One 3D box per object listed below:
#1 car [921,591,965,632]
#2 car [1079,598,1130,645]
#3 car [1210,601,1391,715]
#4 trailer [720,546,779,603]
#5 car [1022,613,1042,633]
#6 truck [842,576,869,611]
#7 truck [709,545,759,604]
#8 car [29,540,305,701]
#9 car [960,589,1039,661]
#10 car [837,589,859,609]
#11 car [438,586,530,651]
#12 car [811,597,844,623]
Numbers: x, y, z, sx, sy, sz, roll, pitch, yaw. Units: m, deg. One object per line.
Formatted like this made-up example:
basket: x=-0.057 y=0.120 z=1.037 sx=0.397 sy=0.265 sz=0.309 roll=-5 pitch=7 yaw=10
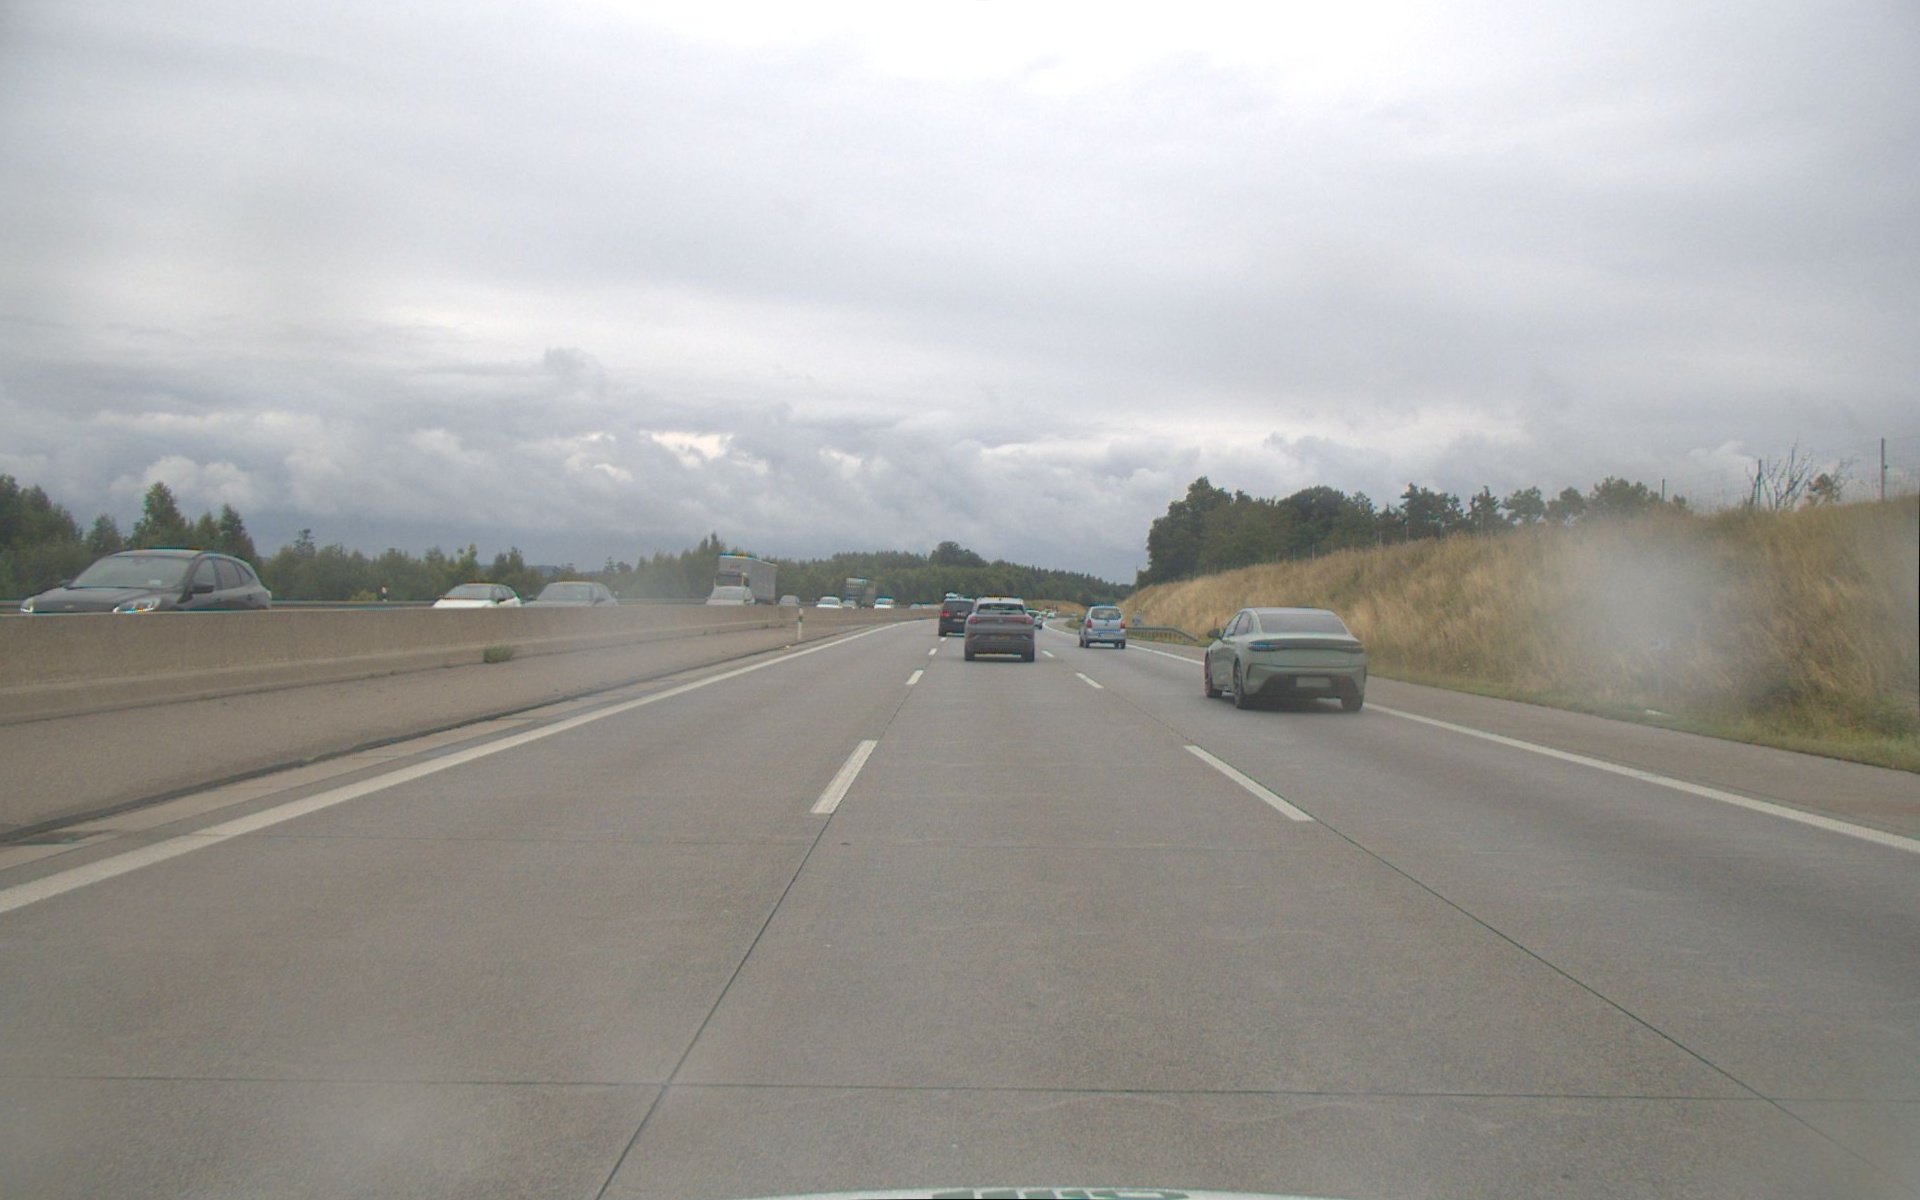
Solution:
car: x=-0.750 y=0.504 z=75.054 sx=1.748 sy=1.777 sz=3.917 roll=1 pitch=1 yaw=2
car: x=5.112 y=0.733 z=58.974 sx=1.455 sy=1.496 sz=3.505 roll=3 pitch=1 yaw=0
car: x=5.054 y=0.806 z=25.199 sx=1.972 sy=1.471 sz=4.747 roll=1 pitch=1 yaw=3
trailer: x=-16.512 y=-2.009 z=130.494 sx=2.858 sy=4.291 sz=11.875 roll=1 pitch=1 yaw=1
car: x=5.841 y=1.869 z=134.987 sx=1.455 sy=1.496 sz=3.505 roll=3 pitch=1 yaw=0
truck: x=-13.576 y=-0.908 z=215.103 sx=2.732 sy=4.336 sz=6.051 roll=4 pitch=1 yaw=2
truck: x=-16.633 y=-1.894 z=122.304 sx=2.872 sy=4.253 sz=5.857 roll=1 pitch=1 yaw=0
car: x=-11.087 y=0.258 z=23.562 sx=1.653 sy=2.049 sz=4.836 roll=1 pitch=0 yaw=-1
car: x=0.986 y=0.609 z=43.893 sx=1.859 sy=1.719 sz=5.265 roll=1 pitch=1 yaw=-1
car: x=-11.896 y=-0.137 z=176.431 sx=1.875 sy=2.049 sz=5.925 roll=1 pitch=1 yaw=1
car: x=-14.022 y=0.496 z=48.943 sx=1.465 sy=1.779 sz=4.578 roll=1 pitch=1 yaw=-1
car: x=-9.683 y=0.715 z=121.198 sx=1.992 sy=1.900 sz=4.604 roll=1 pitch=0 yaw=0
